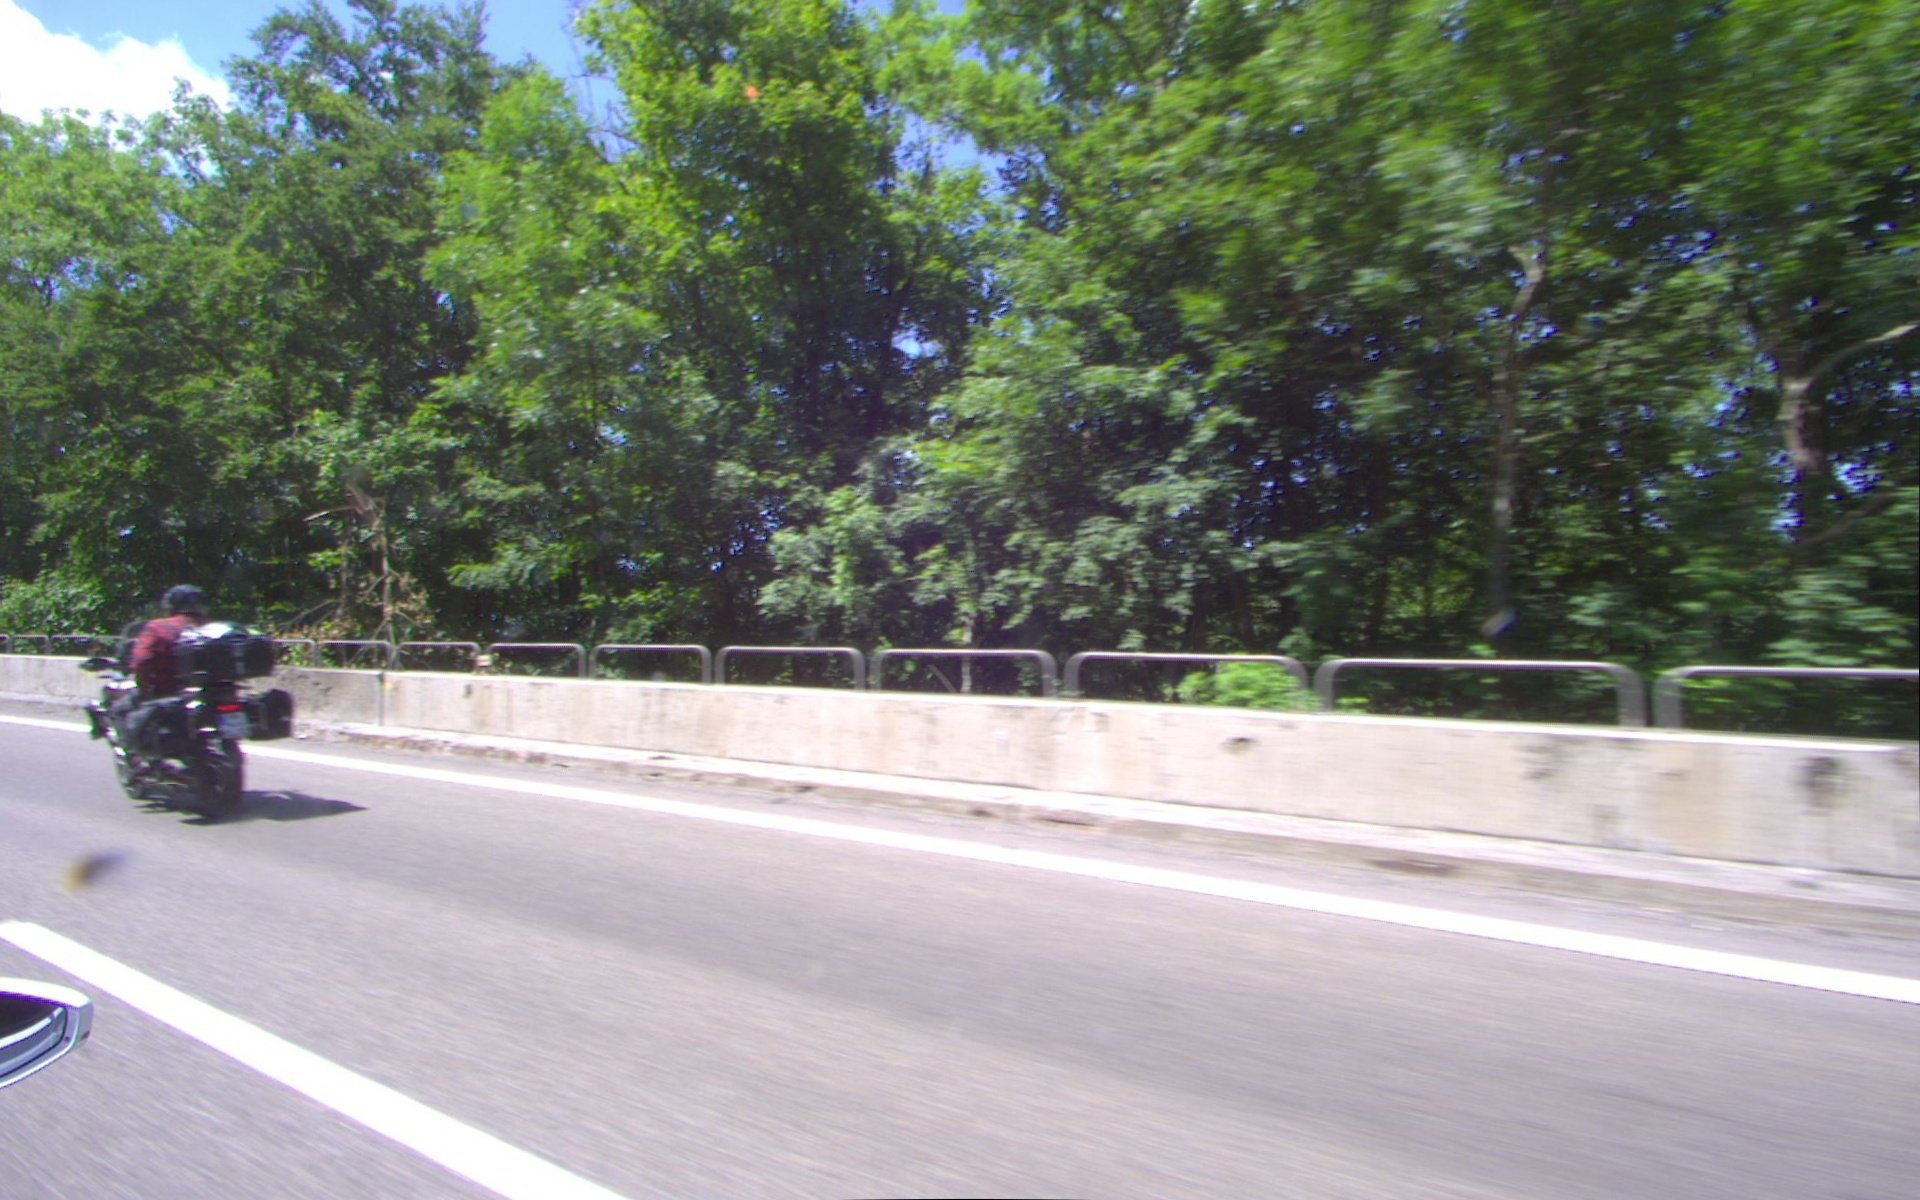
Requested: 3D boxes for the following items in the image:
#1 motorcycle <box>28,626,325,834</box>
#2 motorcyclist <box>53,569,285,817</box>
[{"bbox_3d":[-6.374,0.942,8.102,2.641,1.438,0.971,0,-1,30],"label":"motorcycle"},{"bbox_3d":[-6.422,0.703,8.148,1.318,1.823,1.059,0,-1,30],"label":"motorcyclist"}]
